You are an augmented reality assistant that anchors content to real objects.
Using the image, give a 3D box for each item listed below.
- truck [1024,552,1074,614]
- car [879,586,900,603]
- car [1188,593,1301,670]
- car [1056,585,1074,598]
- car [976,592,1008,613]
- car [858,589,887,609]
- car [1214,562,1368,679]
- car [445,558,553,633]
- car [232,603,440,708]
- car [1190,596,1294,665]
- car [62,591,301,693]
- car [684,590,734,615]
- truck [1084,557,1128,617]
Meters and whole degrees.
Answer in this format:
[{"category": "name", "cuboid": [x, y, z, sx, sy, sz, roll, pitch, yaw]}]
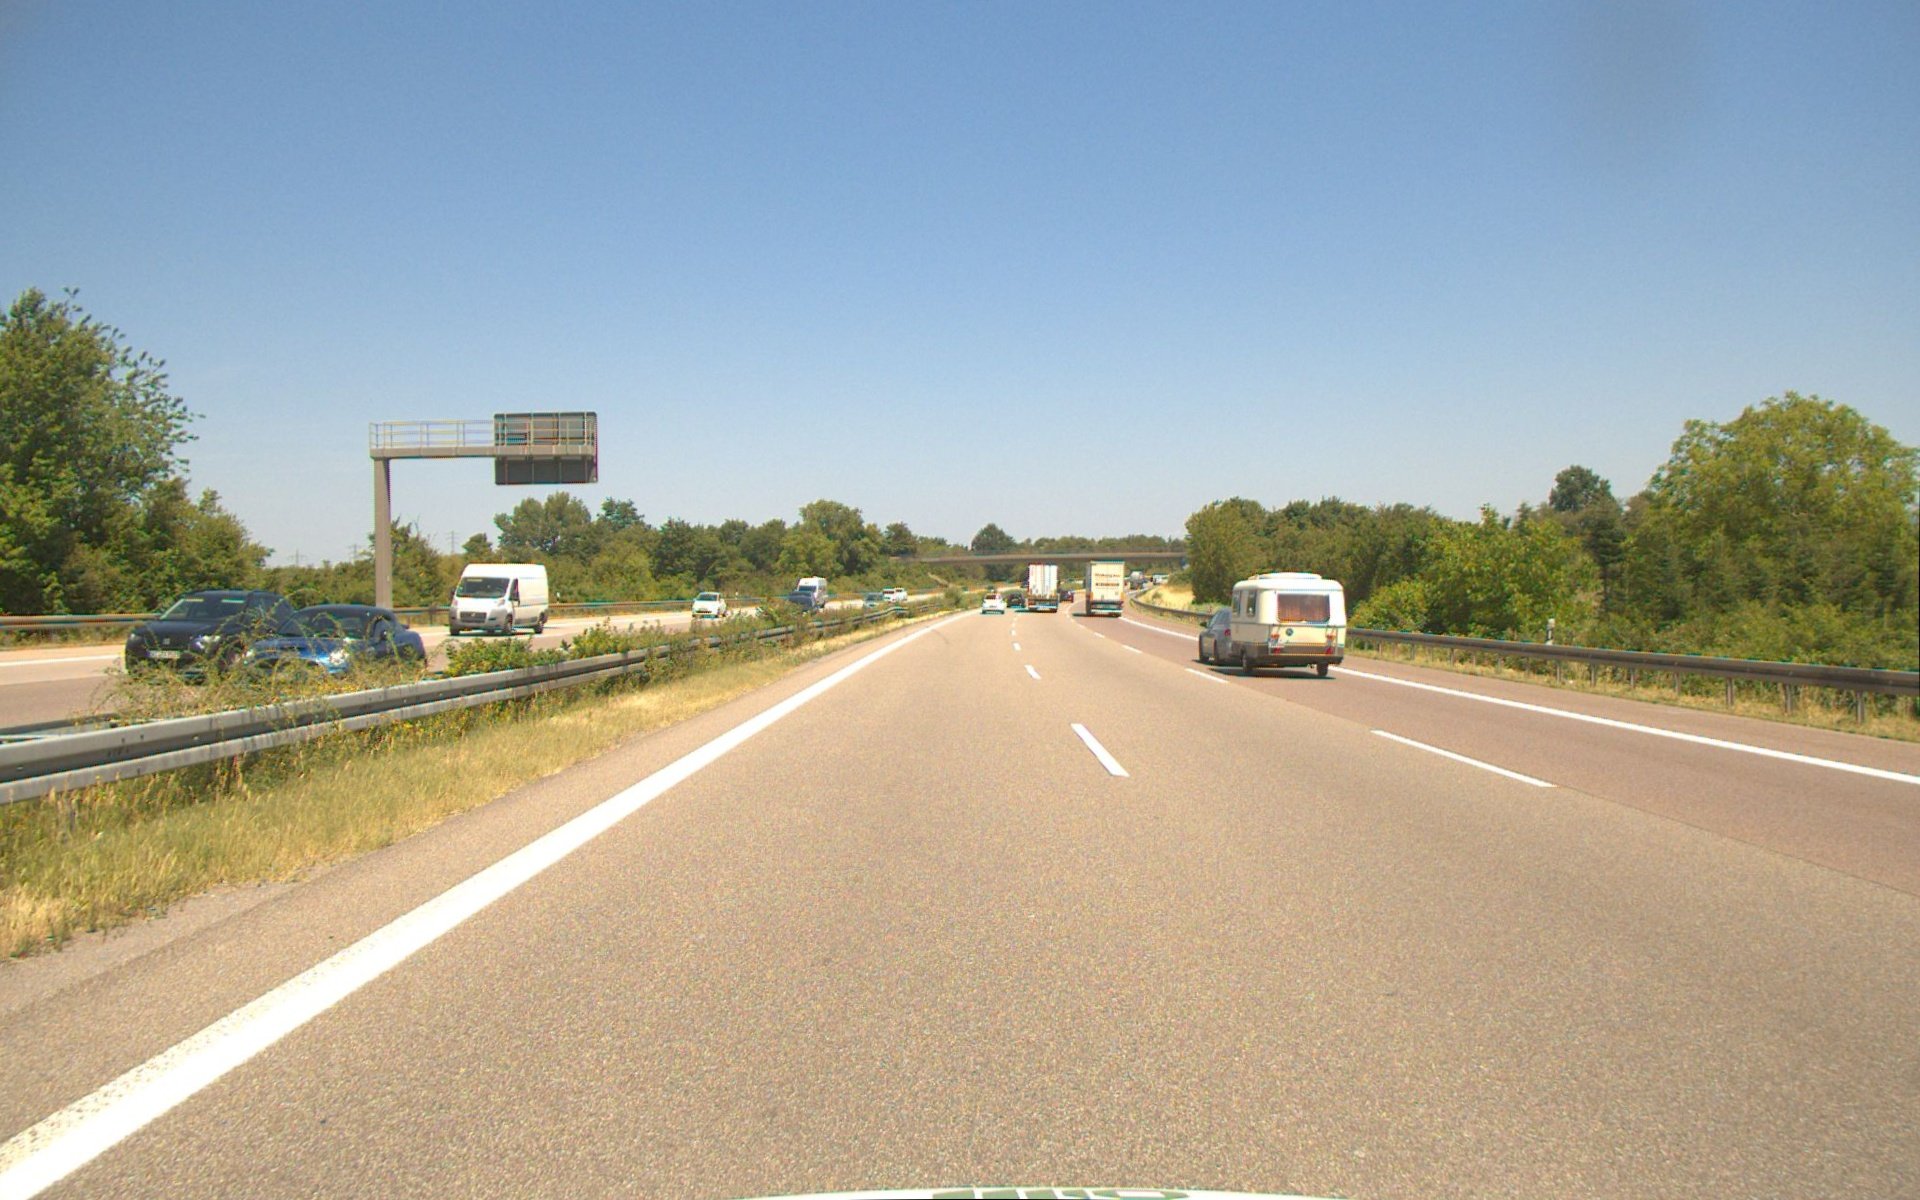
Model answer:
[{"category": "truck", "cuboid": [7.921, -1.582, 144.444, 3.589, 5.105, 16.029, 1, 1, 6]}, {"category": "car", "cuboid": [-7.273, -0.588, 171.042, 1.751, 1.710, 4.902, 0, 0, 2]}, {"category": "car", "cuboid": [7.206, 0.741, 42.458, 2.003, 1.687, 5.511, 0, 2, 0]}, {"category": "car", "cuboid": [13.397, -1.125, 211.582, 1.789, 1.574, 4.323, 1, 1, 10]}, {"category": "car", "cuboid": [2.476, 0.188, 127.580, 1.789, 1.574, 4.323, 1, 1, 10]}, {"category": "car", "cuboid": [-6.614, -0.099, 125.646, 1.710, 1.492, 4.252, 0, 0, 4]}, {"category": "car", "cuboid": [7.257, 0.368, 36.864, 2.392, 2.362, 5.322, -1, 2, 0]}, {"category": "car", "cuboid": [-16.367, -0.143, 59.099, 2.087, 2.520, 6.333, 0, 0, 0]}, {"category": "car", "cuboid": [-8.966, 0.752, 24.095, 1.598, 1.378, 3.828, 0, 0, -1]}, {"category": "car", "cuboid": [7.199, 0.728, 42.715, 1.848, 1.542, 5.381, 2, 1, 1]}, {"category": "car", "cuboid": [-12.614, 0.633, 27.137, 1.938, 1.536, 4.235, 0, 0, -1]}, {"category": "car", "cuboid": [-15.239, 0.140, 100.710, 1.951, 1.483, 4.091, 0, 0, 7]}, {"category": "truck", "cuboid": [11.581, -1.121, 129.660, 3.114, 4.379, 16.030, 1, 1, 6]}]
